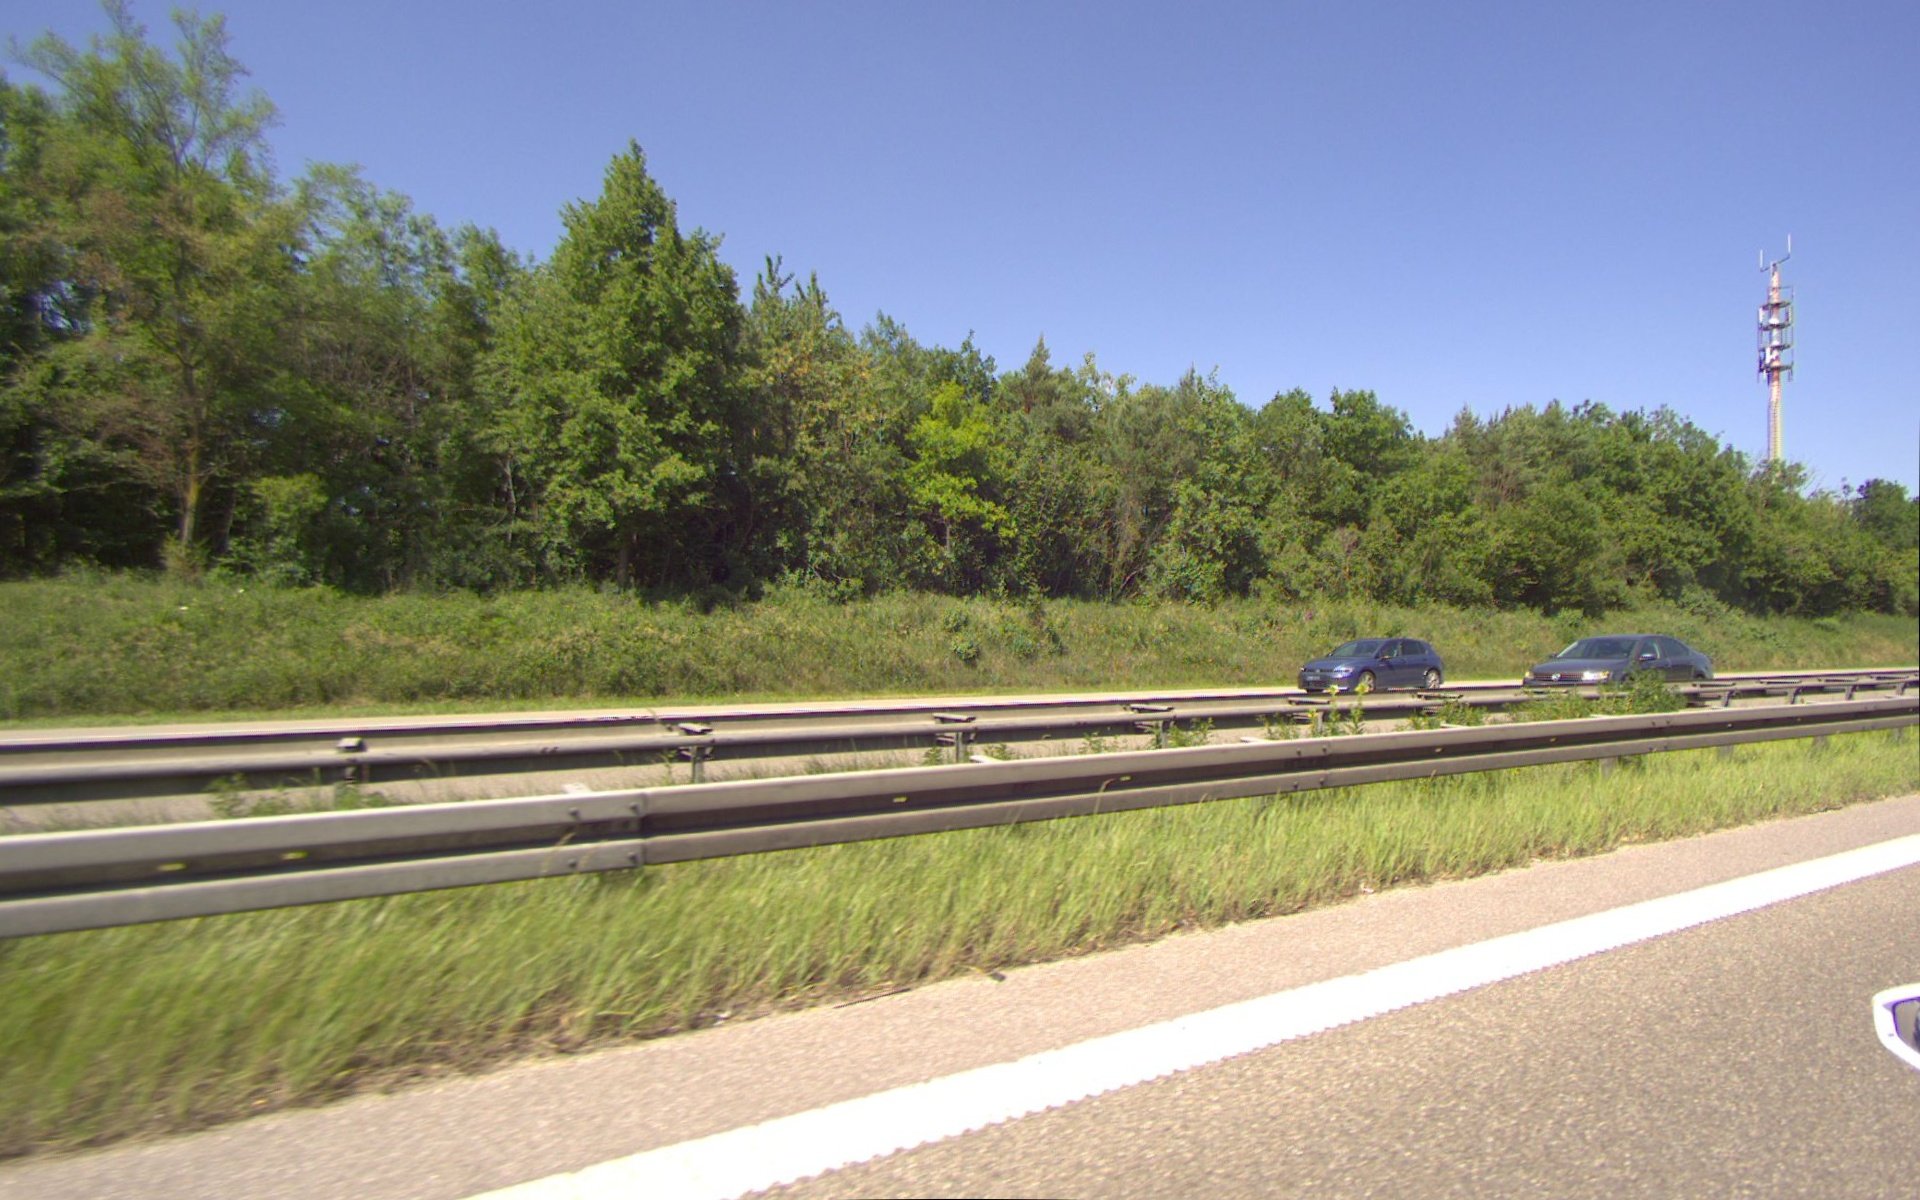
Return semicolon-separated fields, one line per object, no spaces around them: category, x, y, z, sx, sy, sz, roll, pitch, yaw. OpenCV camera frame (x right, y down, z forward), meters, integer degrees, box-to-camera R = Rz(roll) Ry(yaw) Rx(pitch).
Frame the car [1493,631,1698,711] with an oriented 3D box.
car;12.075;1.287;19.019;4.366;1.374;1.478;1;-2;-31

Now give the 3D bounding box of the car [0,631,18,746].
car;-14.600;1.105;11.767;4.882;1.512;1.621;1;-3;-30

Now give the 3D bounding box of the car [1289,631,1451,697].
car;10.557;1.609;25.795;4.319;1.588;1.587;1;-4;-31
